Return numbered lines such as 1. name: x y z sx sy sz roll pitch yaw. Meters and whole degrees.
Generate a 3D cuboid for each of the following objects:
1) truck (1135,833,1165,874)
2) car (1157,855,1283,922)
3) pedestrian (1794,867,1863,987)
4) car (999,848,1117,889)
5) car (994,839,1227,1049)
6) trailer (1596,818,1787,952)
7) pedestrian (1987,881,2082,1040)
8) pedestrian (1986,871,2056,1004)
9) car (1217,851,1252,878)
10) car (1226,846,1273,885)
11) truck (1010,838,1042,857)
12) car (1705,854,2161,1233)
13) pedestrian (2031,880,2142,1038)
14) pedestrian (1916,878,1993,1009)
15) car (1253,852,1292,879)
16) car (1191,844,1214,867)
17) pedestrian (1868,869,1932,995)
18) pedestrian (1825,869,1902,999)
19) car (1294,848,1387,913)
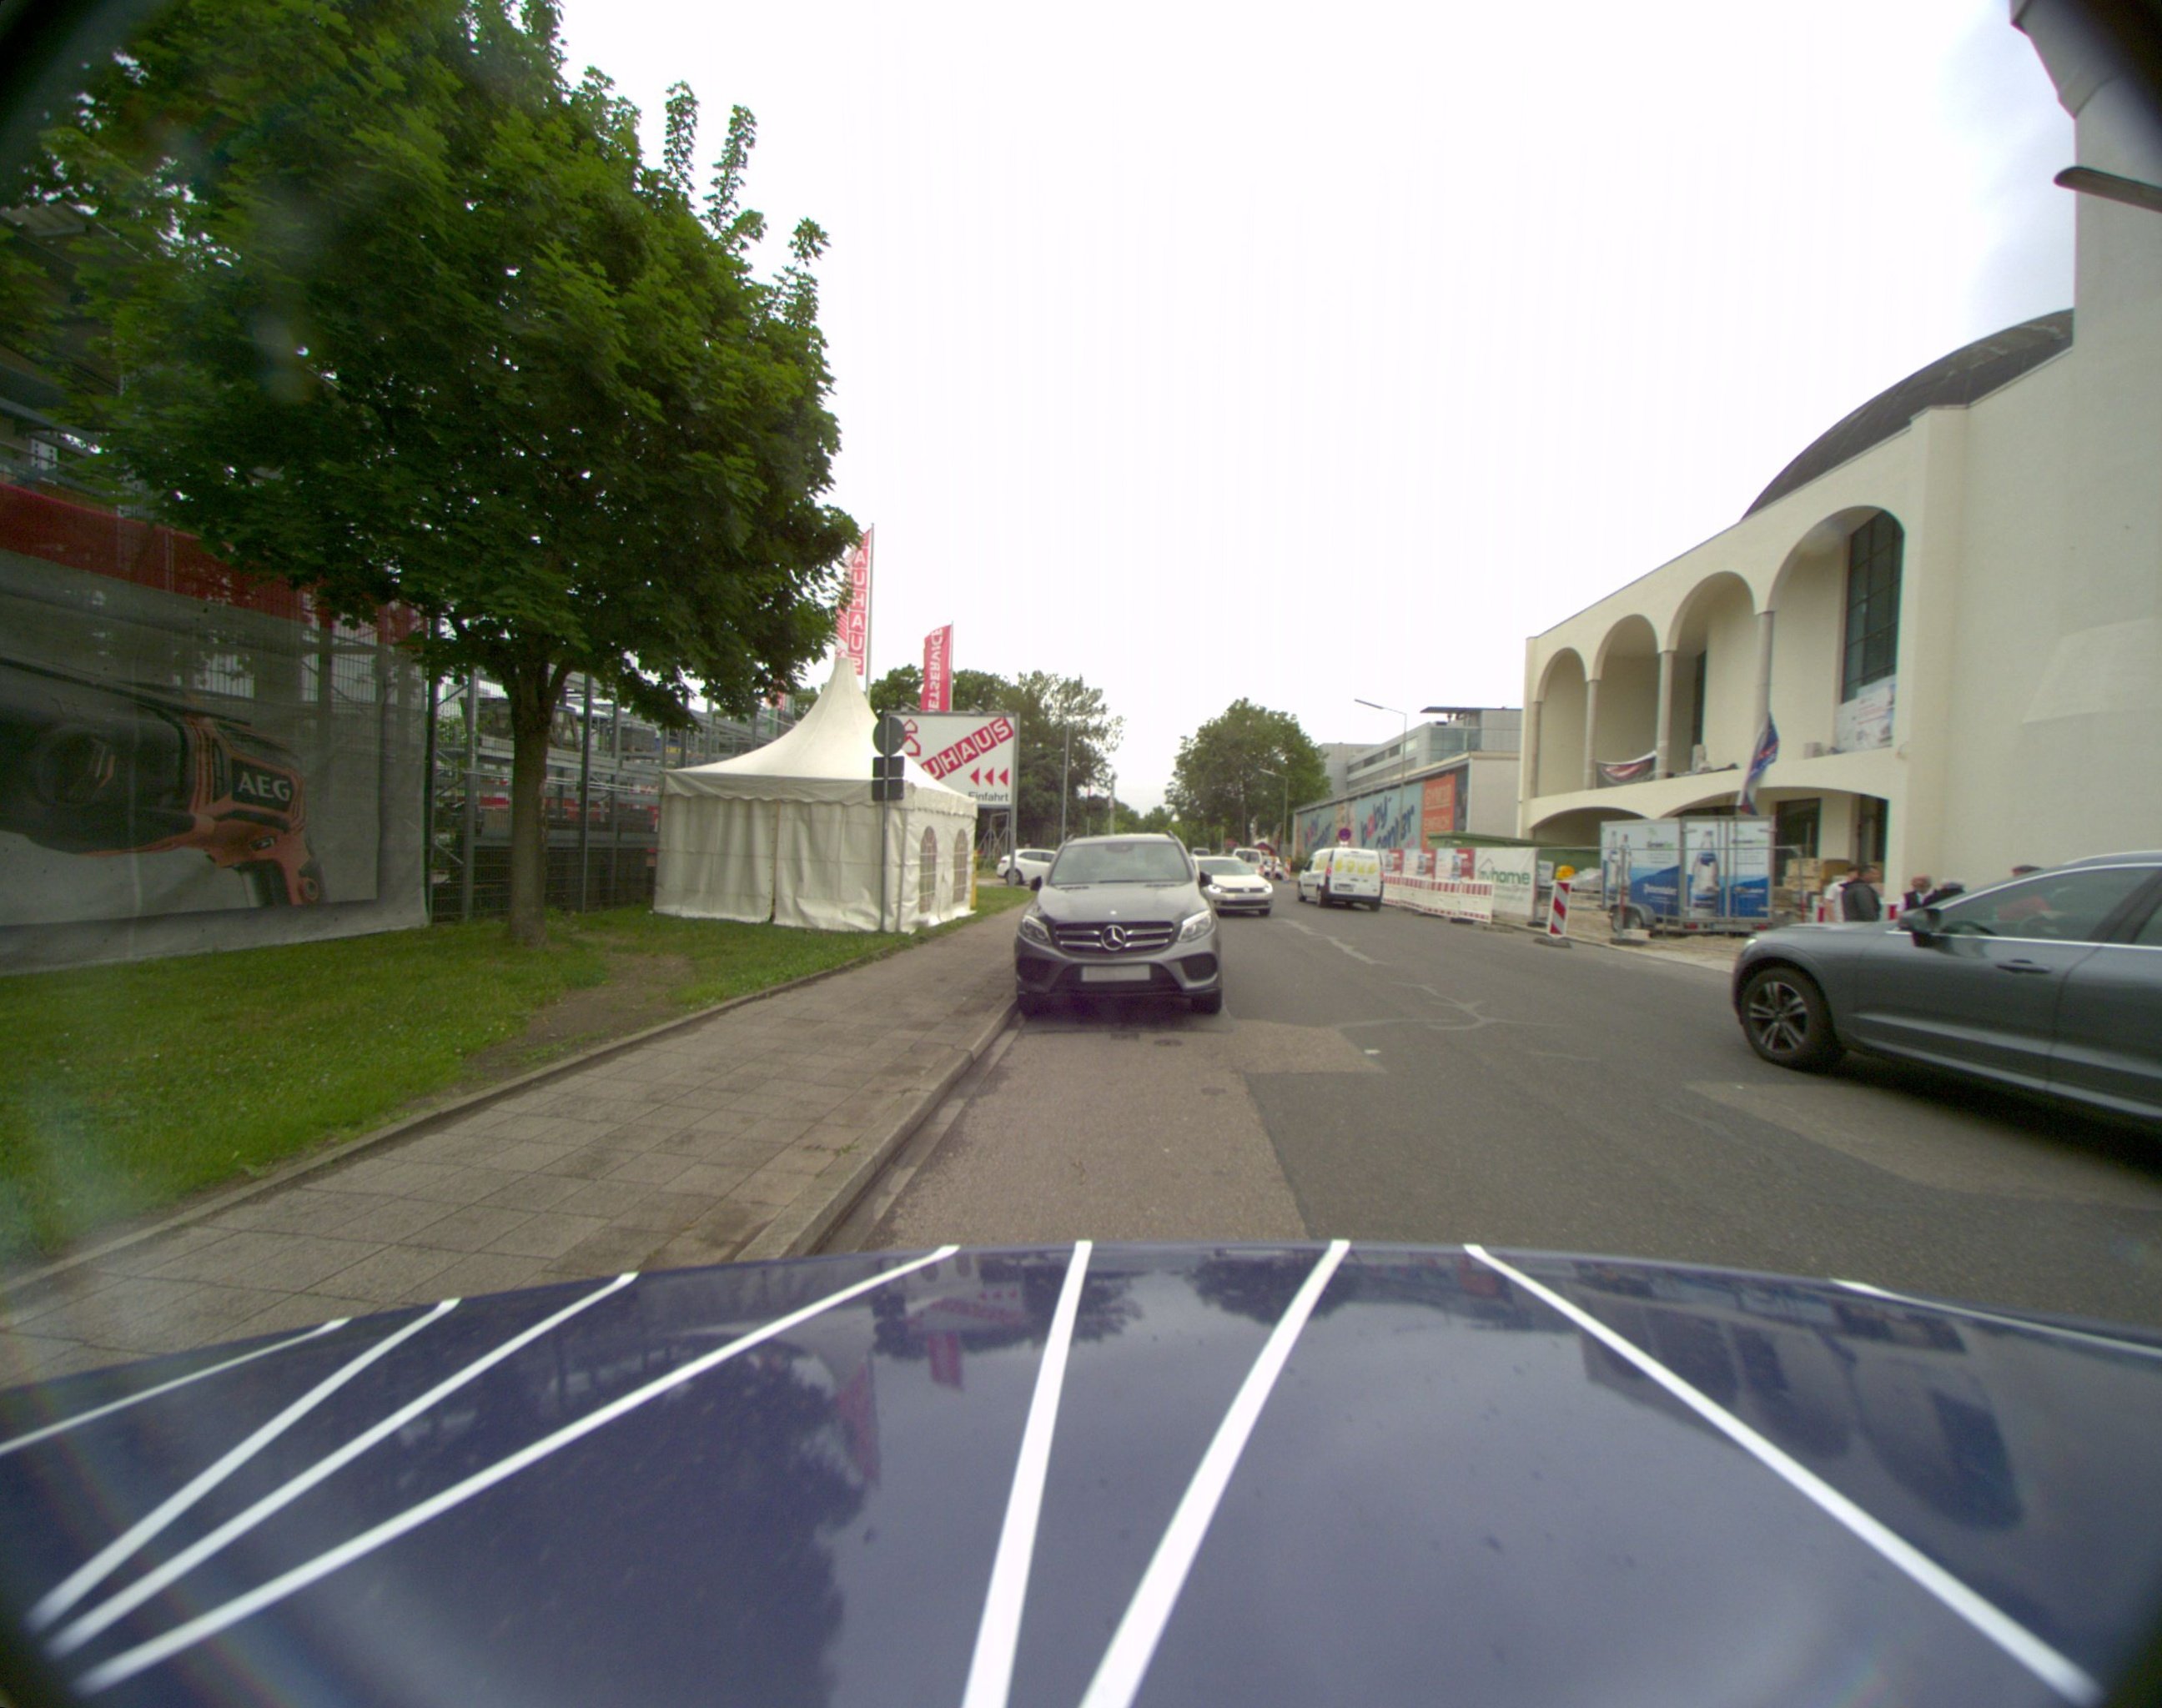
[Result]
1. truck: 4.597 -0.038 50.874 1.852 2.598 4.001 -1 1 5
2. car: 3.390 0.780 19.455 1.759 1.443 4.292 0 1 -10
3. pedestrian: 11.274 1.073 11.474 0.689 1.738 0.492 -2 -2 44
4. car: -0.836 0.550 29.786 4.491 1.420 1.939 1 2 2
5. car: 0.468 0.739 8.567 1.912 1.731 4.481 -1 1 6
6. trailer: 13.256 0.594 16.765 1.801 2.592 3.193 3 1 8
7. pedestrian: 10.532 1.139 8.403 0.533 1.682 0.512 0 -2 -26
8. pedestrian: 12.097 1.045 9.781 0.541 1.603 0.489 -6 5 -34
9. car: 10.044 0.665 49.863 1.732 1.563 3.948 4 1 6
10. car: 8.822 0.543 39.552 1.796 1.797 4.389 4 2 19
11. truck: -7.505 -0.876 104.494 4.009 2.383 1.994 1 1 -45
12. car: 5.901 0.911 3.843 1.937 1.674 4.496 3 1 5
13. pedestrian: 11.561 1.161 8.766 0.689 1.707 0.694 0 -1 -41
14. pedestrian: 11.141 1.108 9.706 0.570 1.601 0.492 -2 -2 44
15. car: 13.183 0.751 52.618 1.928 1.565 4.151 5 1 6
16. car: 11.871 0.114 74.525 1.931 2.002 4.956 2 1 6
17. pedestrian: 11.680 1.088 10.834 0.492 1.738 0.527 1 -2 -36
18. pedestrian: 10.939 1.088 10.643 0.689 1.738 0.492 -2 -2 44
19. car: 7.885 0.736 23.489 1.693 1.751 4.136 2 1 4
